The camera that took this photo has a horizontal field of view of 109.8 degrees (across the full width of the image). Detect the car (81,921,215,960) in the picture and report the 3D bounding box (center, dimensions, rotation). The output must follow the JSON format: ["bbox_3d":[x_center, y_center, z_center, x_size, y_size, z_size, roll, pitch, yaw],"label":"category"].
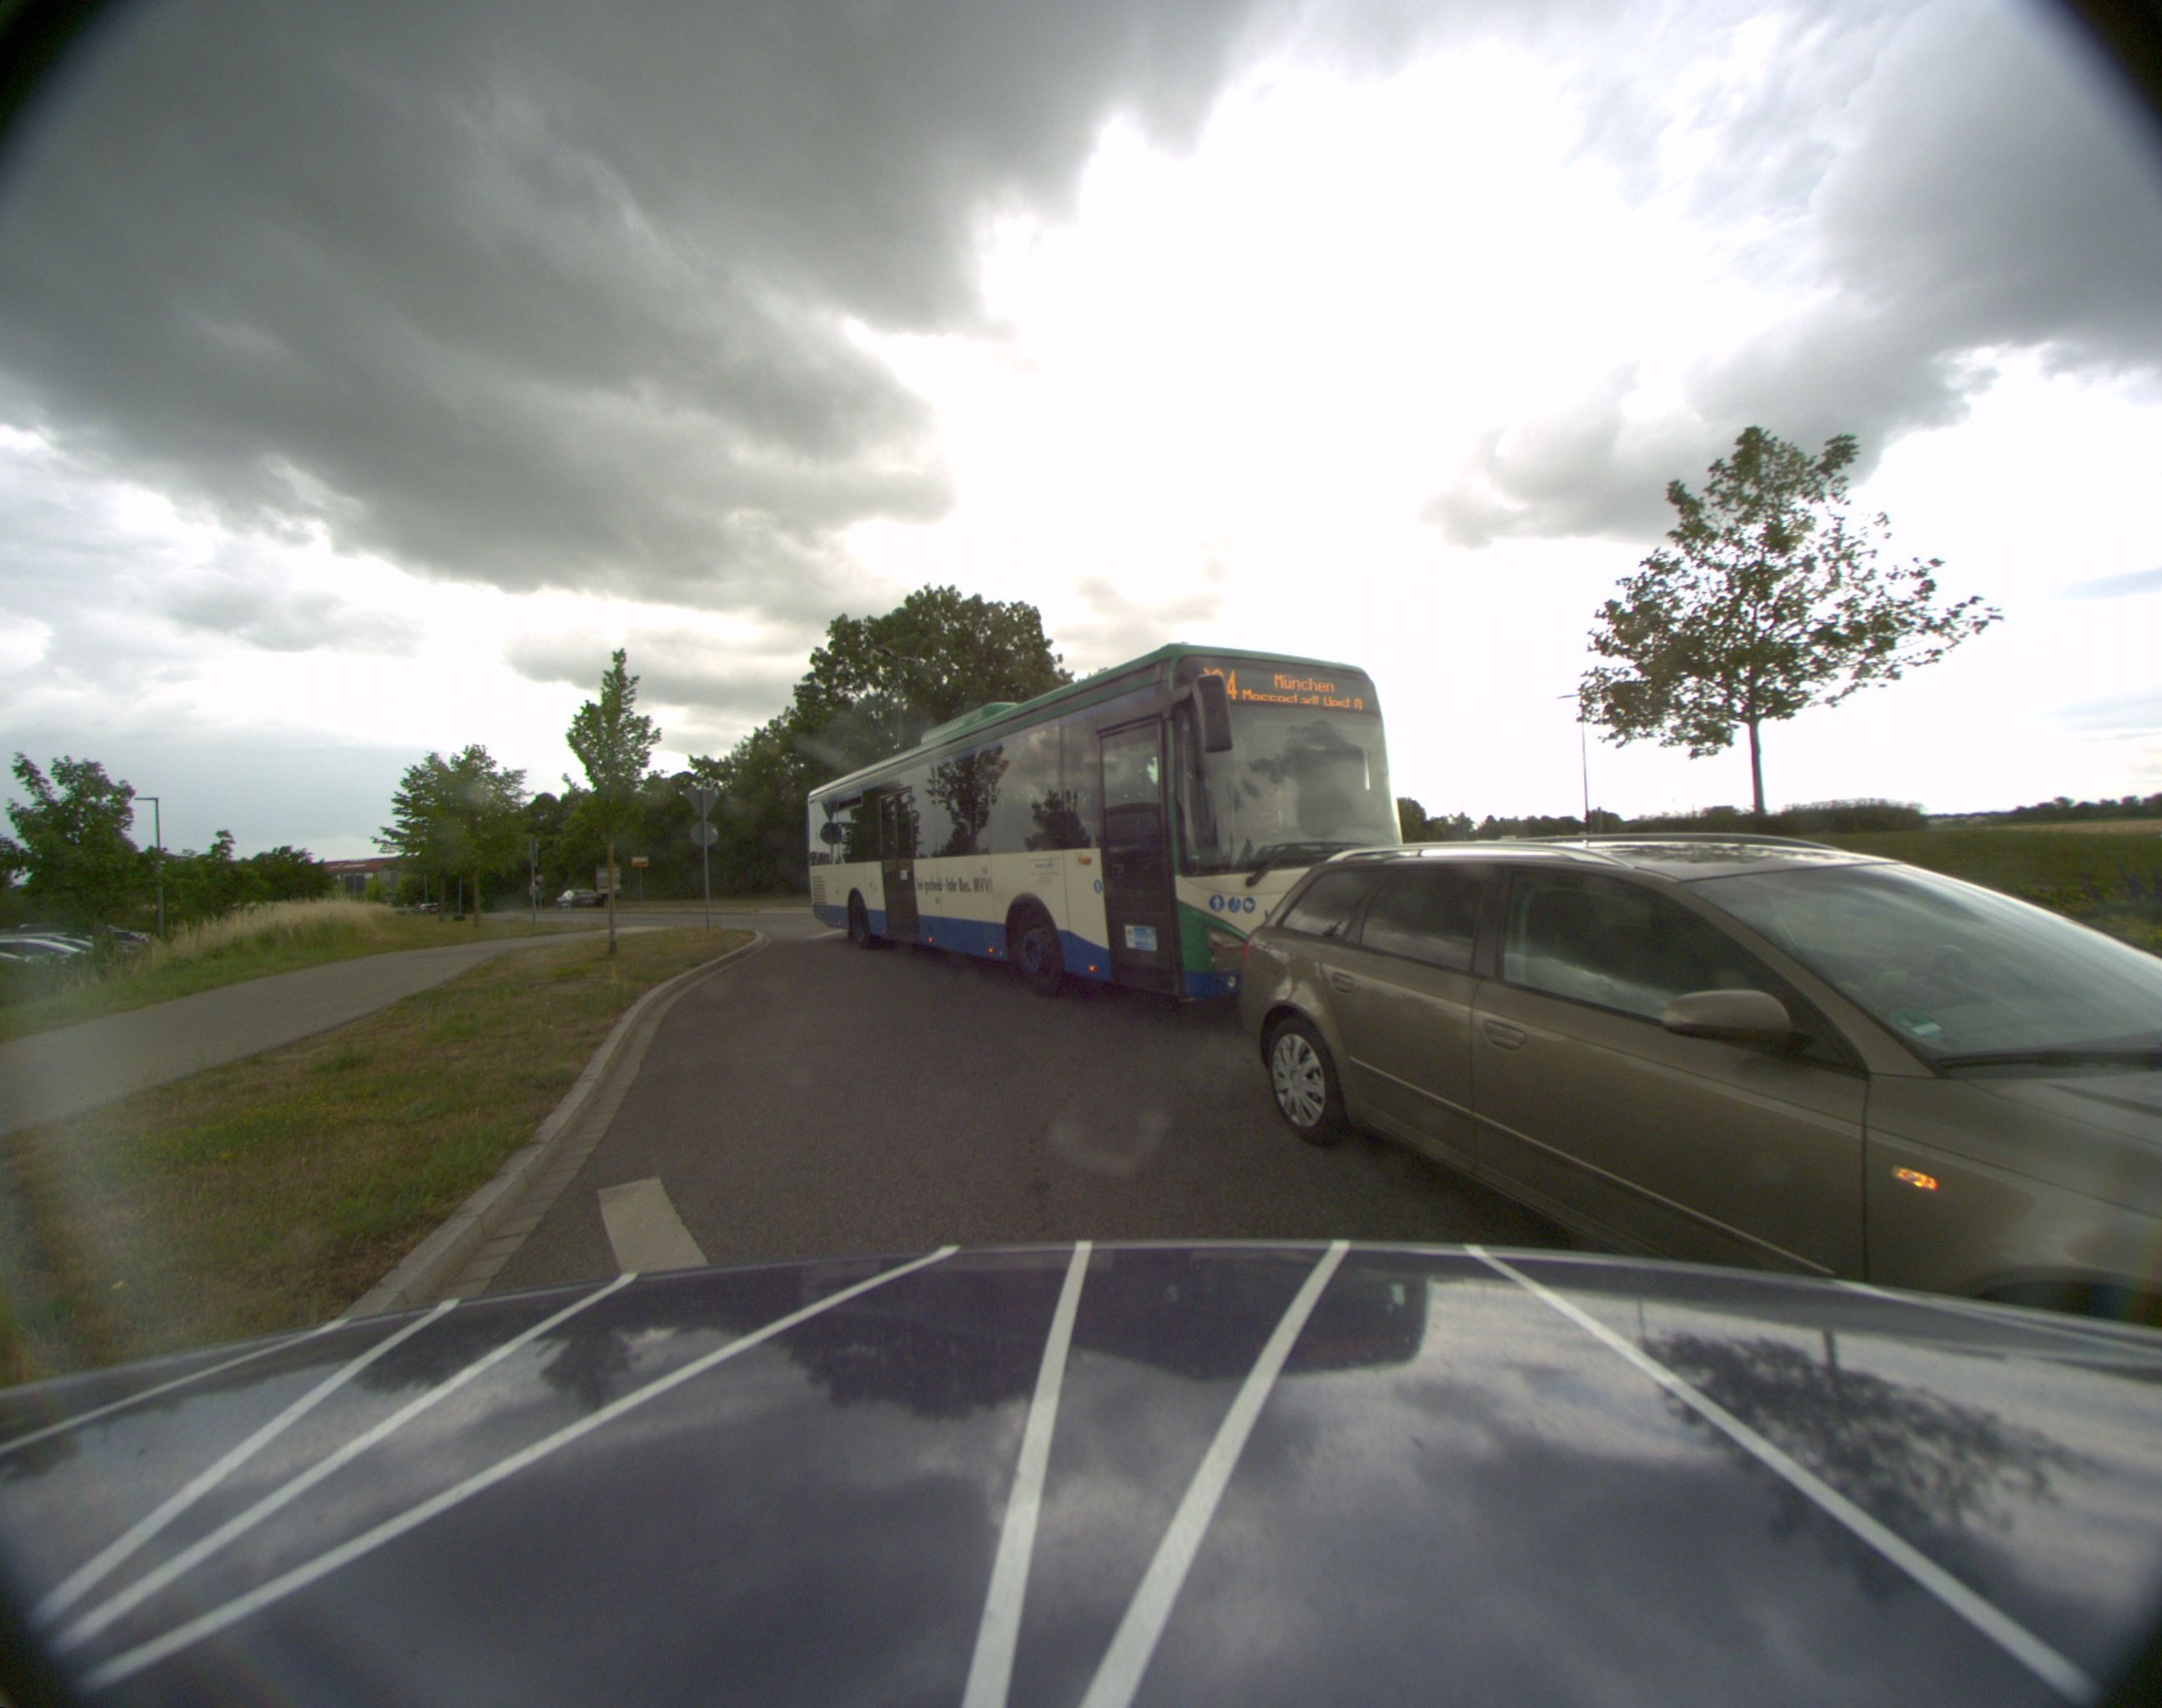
[{"bbox_3d":[-46.552,4.288,38.052,3.896,1.455,1.693,-2,0,-37],"label":"car"}]

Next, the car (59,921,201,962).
[{"bbox_3d":[-45.540,4.157,36.523,3.896,1.455,1.693,-2,0,-37],"label":"car"}]

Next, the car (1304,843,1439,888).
[{"bbox_3d":[11.725,0.431,30.578,5.293,1.489,1.969,-3,0,-27],"label":"car"}]

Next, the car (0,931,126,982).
[{"bbox_3d":[-37.572,3.701,27.167,3.896,1.455,1.693,-2,0,-37],"label":"car"}]

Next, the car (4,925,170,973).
[{"bbox_3d":[-41.586,3.938,31.946,3.896,1.455,1.693,-2,0,-37],"label":"car"}]

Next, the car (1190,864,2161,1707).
[{"bbox_3d":[2.157,0.804,2.534,1.784,1.456,4.535,-3,0,-16],"label":"car"}]

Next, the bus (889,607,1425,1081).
[{"bbox_3d":[0.137,-0.091,8.625,2.529,3.239,6.532,-2,1,-32],"label":"bus"}]

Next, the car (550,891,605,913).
[{"bbox_3d":[-32.515,3.099,49.053,4.103,1.299,1.835,-3,-1,40],"label":"car"}]

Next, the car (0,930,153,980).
[{"bbox_3d":[-39.497,3.901,29.607,3.896,1.455,1.693,-2,0,-37],"label":"car"}]

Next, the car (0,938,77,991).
[{"bbox_3d":[-35.165,3.620,23.950,3.896,1.455,1.693,-2,0,-37],"label":"car"}]

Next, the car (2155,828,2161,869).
[{"bbox_3d":[46.105,-0.327,31.386,4.005,1.544,1.713,-4,-1,-32],"label":"car"}]

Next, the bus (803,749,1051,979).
[{"bbox_3d":[-3.033,0.116,13.681,2.529,3.239,5.447,-2,1,-32],"label":"bus"}]

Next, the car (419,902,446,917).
[{"bbox_3d":[-70.191,5.971,82.222,3.572,1.496,1.647,-2,0,40],"label":"car"}]

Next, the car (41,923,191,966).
[{"bbox_3d":[-44.045,4.091,34.829,3.896,1.455,1.693,-2,0,-37],"label":"car"}]

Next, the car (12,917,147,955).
[{"bbox_3d":[-50.337,4.082,38.328,1.879,1.435,4.008,-2,0,38],"label":"car"}]
